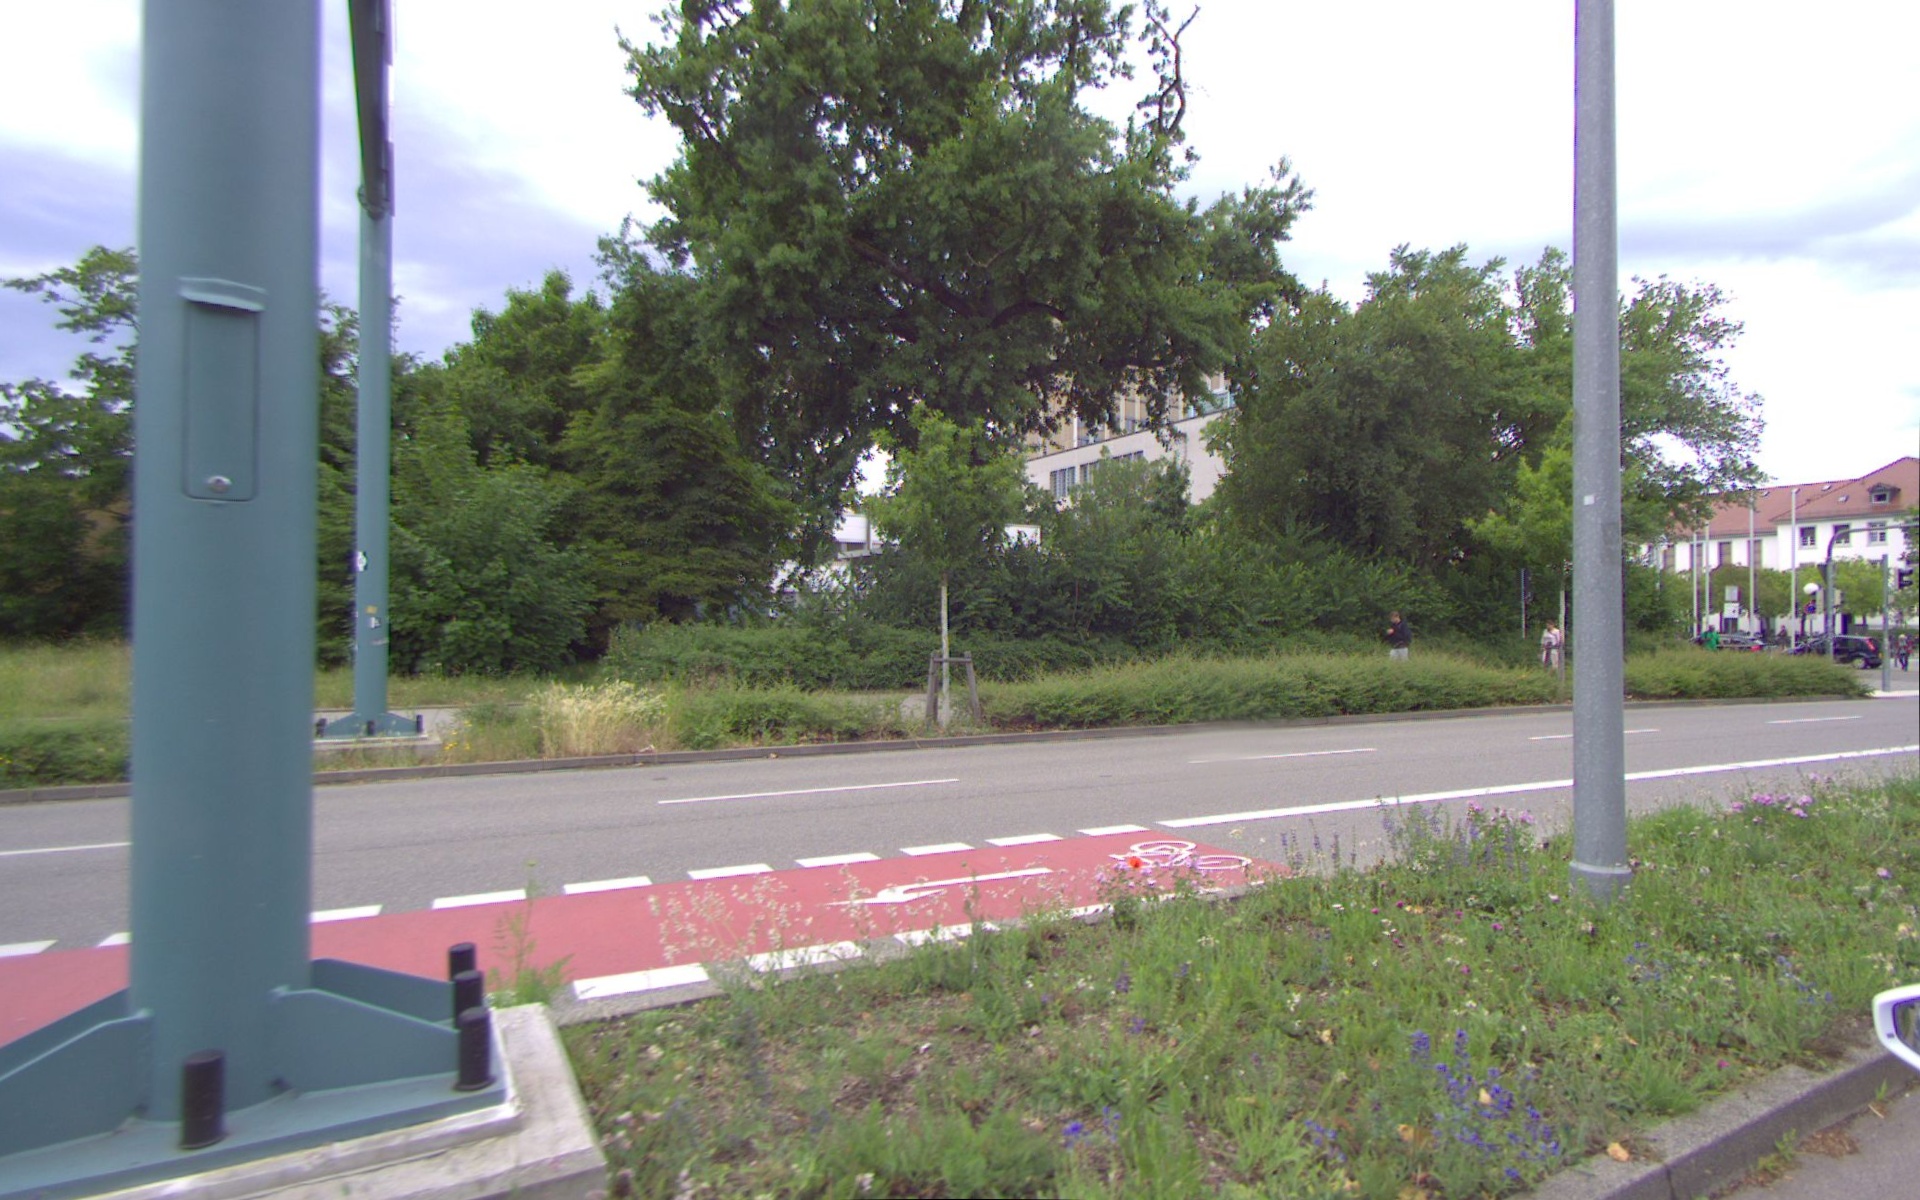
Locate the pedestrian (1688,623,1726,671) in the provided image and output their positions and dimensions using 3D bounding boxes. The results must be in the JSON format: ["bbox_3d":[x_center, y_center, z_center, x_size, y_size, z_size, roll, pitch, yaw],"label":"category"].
[{"bbox_3d":[28.298,1.761,38.052,0.924,1.782,0.875,1,0,21],"label":"pedestrian"}]

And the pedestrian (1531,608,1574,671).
[{"bbox_3d":[16.074,1.071,27.262,0.662,1.657,0.698,0,-2,-25],"label":"pedestrian"}]

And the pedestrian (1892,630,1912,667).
[{"bbox_3d":[41.069,2.124,43.795,0.563,1.545,0.845,-1,-6,41],"label":"pedestrian"}]

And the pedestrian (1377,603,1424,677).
[{"bbox_3d":[10.546,0.953,24.050,0.807,1.752,0.618,0,-2,-26],"label":"pedestrian"}]

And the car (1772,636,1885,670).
[{"bbox_3d":[40.209,2.418,46.565,1.545,1.240,3.637,-8,3,-31],"label":"car"}]

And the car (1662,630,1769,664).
[{"bbox_3d":[37.591,2.314,50.036,1.611,1.472,4.013,-6,3,-42],"label":"car"}]
